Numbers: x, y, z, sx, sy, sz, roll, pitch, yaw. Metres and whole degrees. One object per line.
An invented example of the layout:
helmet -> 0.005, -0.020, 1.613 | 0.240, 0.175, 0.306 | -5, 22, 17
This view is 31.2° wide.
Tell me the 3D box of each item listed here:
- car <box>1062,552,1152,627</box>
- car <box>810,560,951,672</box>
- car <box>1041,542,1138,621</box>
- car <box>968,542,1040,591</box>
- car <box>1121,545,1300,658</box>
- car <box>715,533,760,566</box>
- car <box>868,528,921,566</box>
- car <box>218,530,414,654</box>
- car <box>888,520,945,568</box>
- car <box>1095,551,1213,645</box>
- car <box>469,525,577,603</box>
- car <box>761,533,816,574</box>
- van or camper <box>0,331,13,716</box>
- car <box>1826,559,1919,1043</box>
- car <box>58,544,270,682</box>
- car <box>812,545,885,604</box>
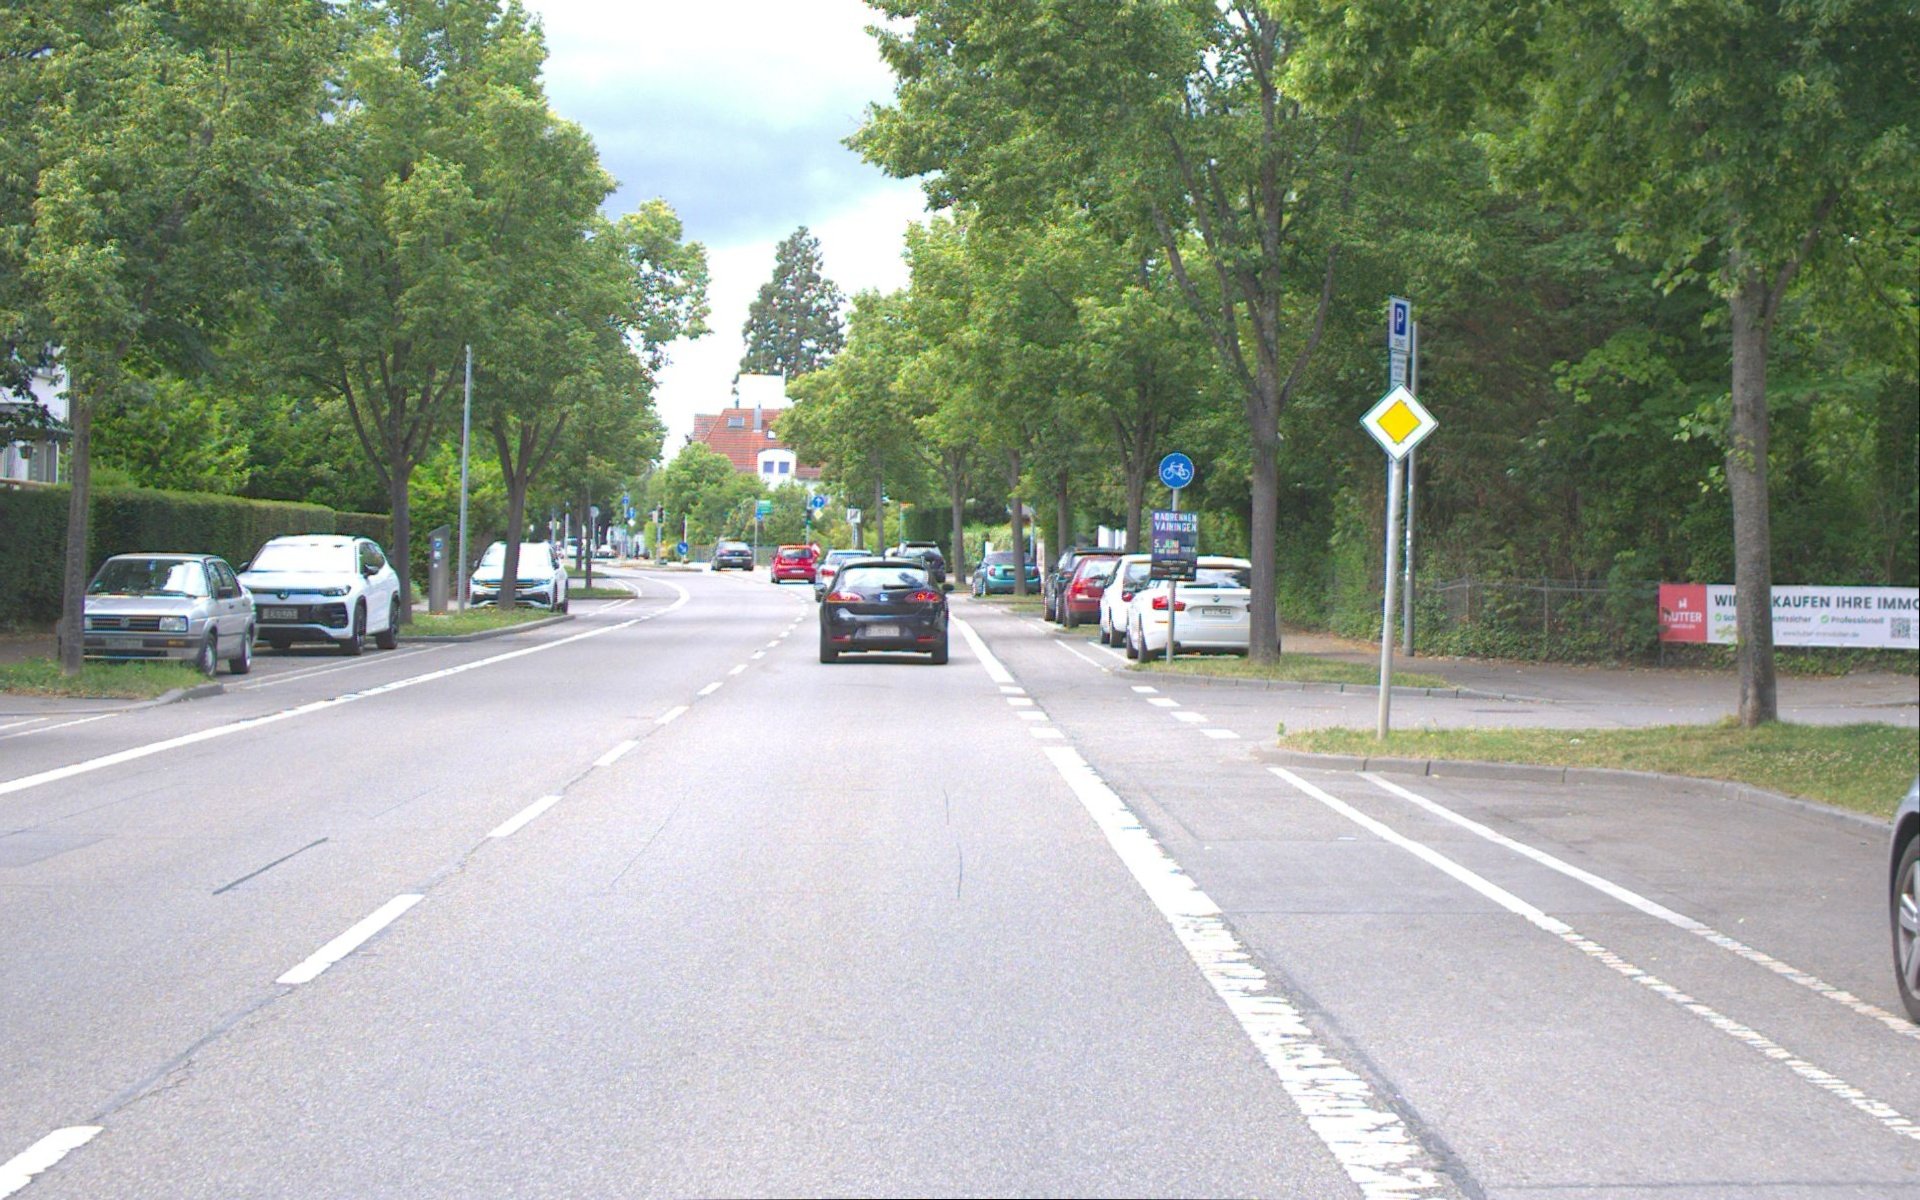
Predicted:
car -> 2.864, -0.219, 67.595 | 1.638, 1.415, 4.000 | 0, 1, 1
car -> -1.122, 0.187, 46.886 | 1.783, 1.444, 3.558 | 1, 1, -3
car -> 2.729, -0.408, 73.071 | 1.638, 1.610, 4.170 | 1, 1, -3
car -> 1.289, -1.018, 102.585 | 1.683, 1.427, 4.045 | 1, 1, -6
car -> 3.383, -0.018, 47.267 | 2.021, 1.438, 5.025 | 1, 1, -1
car -> -10.741, -2.439, 166.031 | 1.993, 1.503, 4.001 | 1, 0, -6
car -> -2.607, -2.094, 136.034 | 1.685, 1.444, 3.580 | 1, 1, -7
car -> -9.136, -0.146, 49.124 | 1.817, 1.646, 4.699 | 1, 1, 1
car -> -1.665, -2.097, 130.065 | 1.788, 1.765, 3.983 | 1, 1, -6
car -> 3.110, -0.063, 55.689 | 1.615, 1.455, 3.657 | 0, 1, -1
car -> -9.685, -0.814, 76.443 | 1.873, 1.682, 4.866 | 0, 1, -1
car -> -6.601, -1.786, 131.841 | 1.993, 1.525, 4.001 | 1, 1, -5
van or camper -> -8.656, -0.552, 23.288 | 2.435, 2.999, 7.693 | 1, 1, -1
car -> 3.828, 0.639, 9.529 | 1.687, 1.488, 4.227 | 0, 1, -1
car -> -9.029, 0.109, 39.311 | 1.555, 1.465, 4.452 | 1, 1, -3
car -> -3.121, -0.719, 95.780 | 1.993, 1.552, 4.001 | 0, 2, -2
